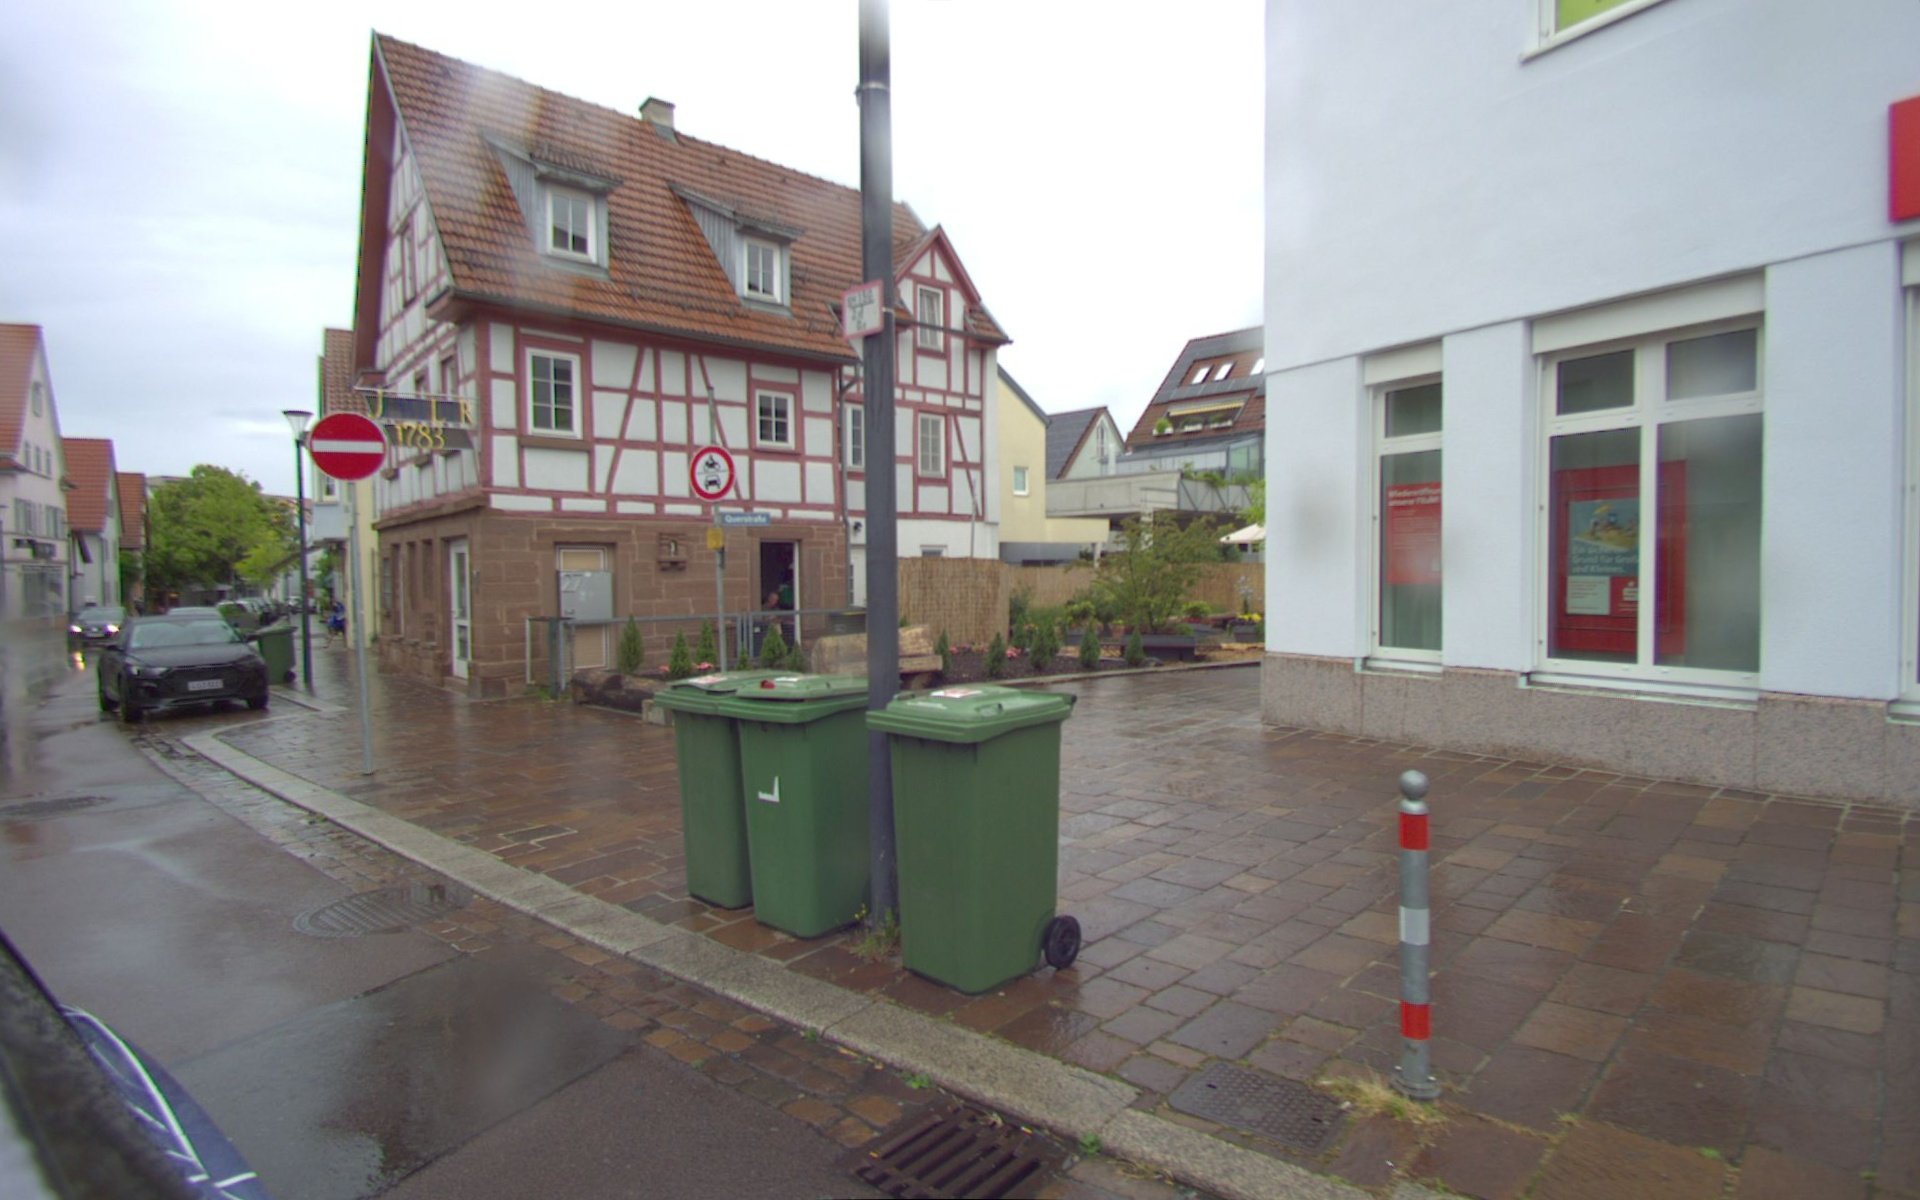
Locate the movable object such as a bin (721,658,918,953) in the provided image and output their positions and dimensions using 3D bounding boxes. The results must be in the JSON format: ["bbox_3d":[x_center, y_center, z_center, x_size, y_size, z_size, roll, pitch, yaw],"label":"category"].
[{"bbox_3d":[-0.617,0.844,4.468,0.553,1.123,0.651,-1,0,45],"label":"movable object such as a bin"}]

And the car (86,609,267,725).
[{"bbox_3d":[-12.145,0.925,15.595,4.002,1.497,1.671,-1,1,45],"label":"car"}]

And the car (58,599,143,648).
[{"bbox_3d":[-32.981,0.875,38.933,1.966,1.763,4.011,-1,0,-33],"label":"car"}]

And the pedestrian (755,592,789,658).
[{"bbox_3d":[-3.378,0.449,18.190,0.406,1.163,0.425,-1,0,-42],"label":"pedestrian"}]

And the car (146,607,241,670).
[{"bbox_3d":[-22.018,1.053,29.179,1.968,1.540,4.009,-4,2,-36],"label":"car"}]

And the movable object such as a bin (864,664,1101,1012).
[{"bbox_3d":[0.089,0.826,3.840,0.613,1.104,0.651,-1,0,43],"label":"movable object such as a bin"}]

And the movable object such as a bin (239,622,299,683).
[{"bbox_3d":[-13.421,1.006,19.654,0.823,1.120,0.920,-1,0,-43],"label":"movable object such as a bin"}]

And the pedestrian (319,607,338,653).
[{"bbox_3d":[-18.556,0.881,29.730,0.448,1.317,0.518,-1,0,-35],"label":"pedestrian"}]

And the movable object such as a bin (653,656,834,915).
[{"bbox_3d":[-1.042,0.841,4.881,0.553,1.090,0.651,-1,0,45],"label":"movable object such as a bin"}]
